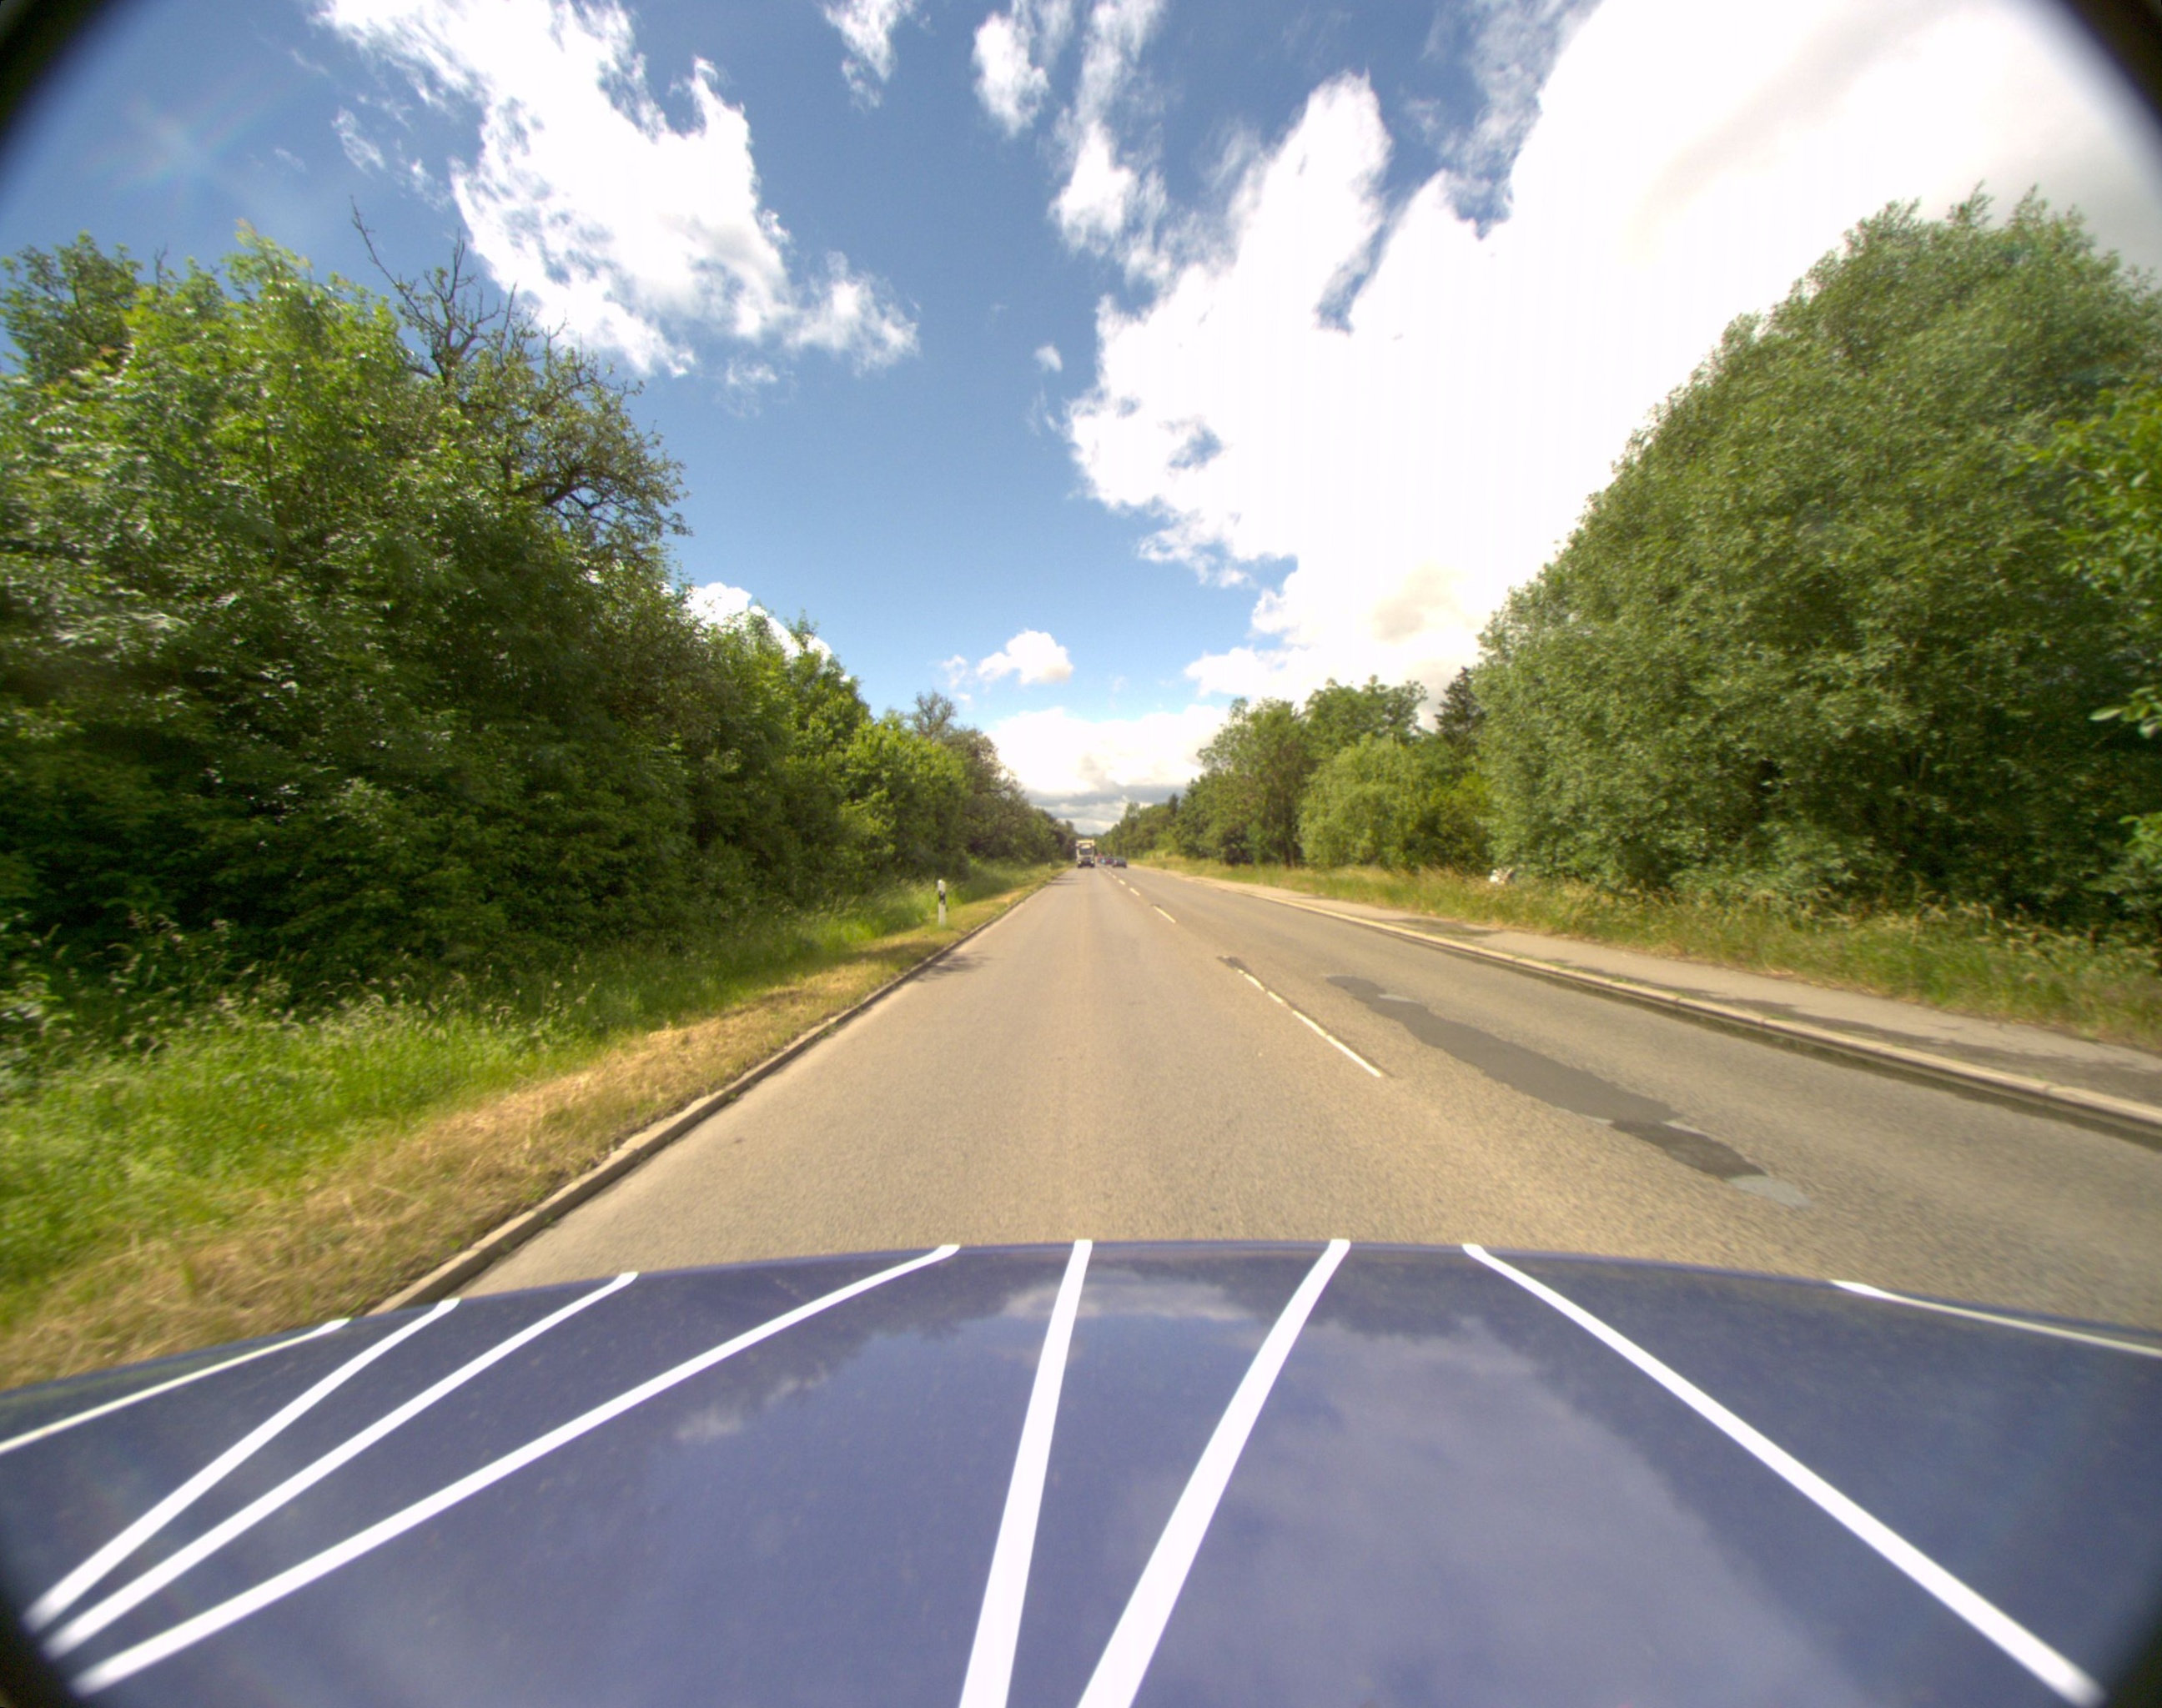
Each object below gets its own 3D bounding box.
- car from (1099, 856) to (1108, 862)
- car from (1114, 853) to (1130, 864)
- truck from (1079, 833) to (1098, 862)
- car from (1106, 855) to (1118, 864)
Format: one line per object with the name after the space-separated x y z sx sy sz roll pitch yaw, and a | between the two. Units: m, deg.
5.339 1.265 181.988 1.789 1.438 4.452 1 0 -1 | car
5.511 0.623 102.945 1.789 1.326 4.622 1 0 -1 | car
1.019 -0.839 108.216 2.306 3.789 8.183 -3 0 0 | truck
5.526 0.996 135.681 1.889 1.483 4.717 1 0 -1 | car
